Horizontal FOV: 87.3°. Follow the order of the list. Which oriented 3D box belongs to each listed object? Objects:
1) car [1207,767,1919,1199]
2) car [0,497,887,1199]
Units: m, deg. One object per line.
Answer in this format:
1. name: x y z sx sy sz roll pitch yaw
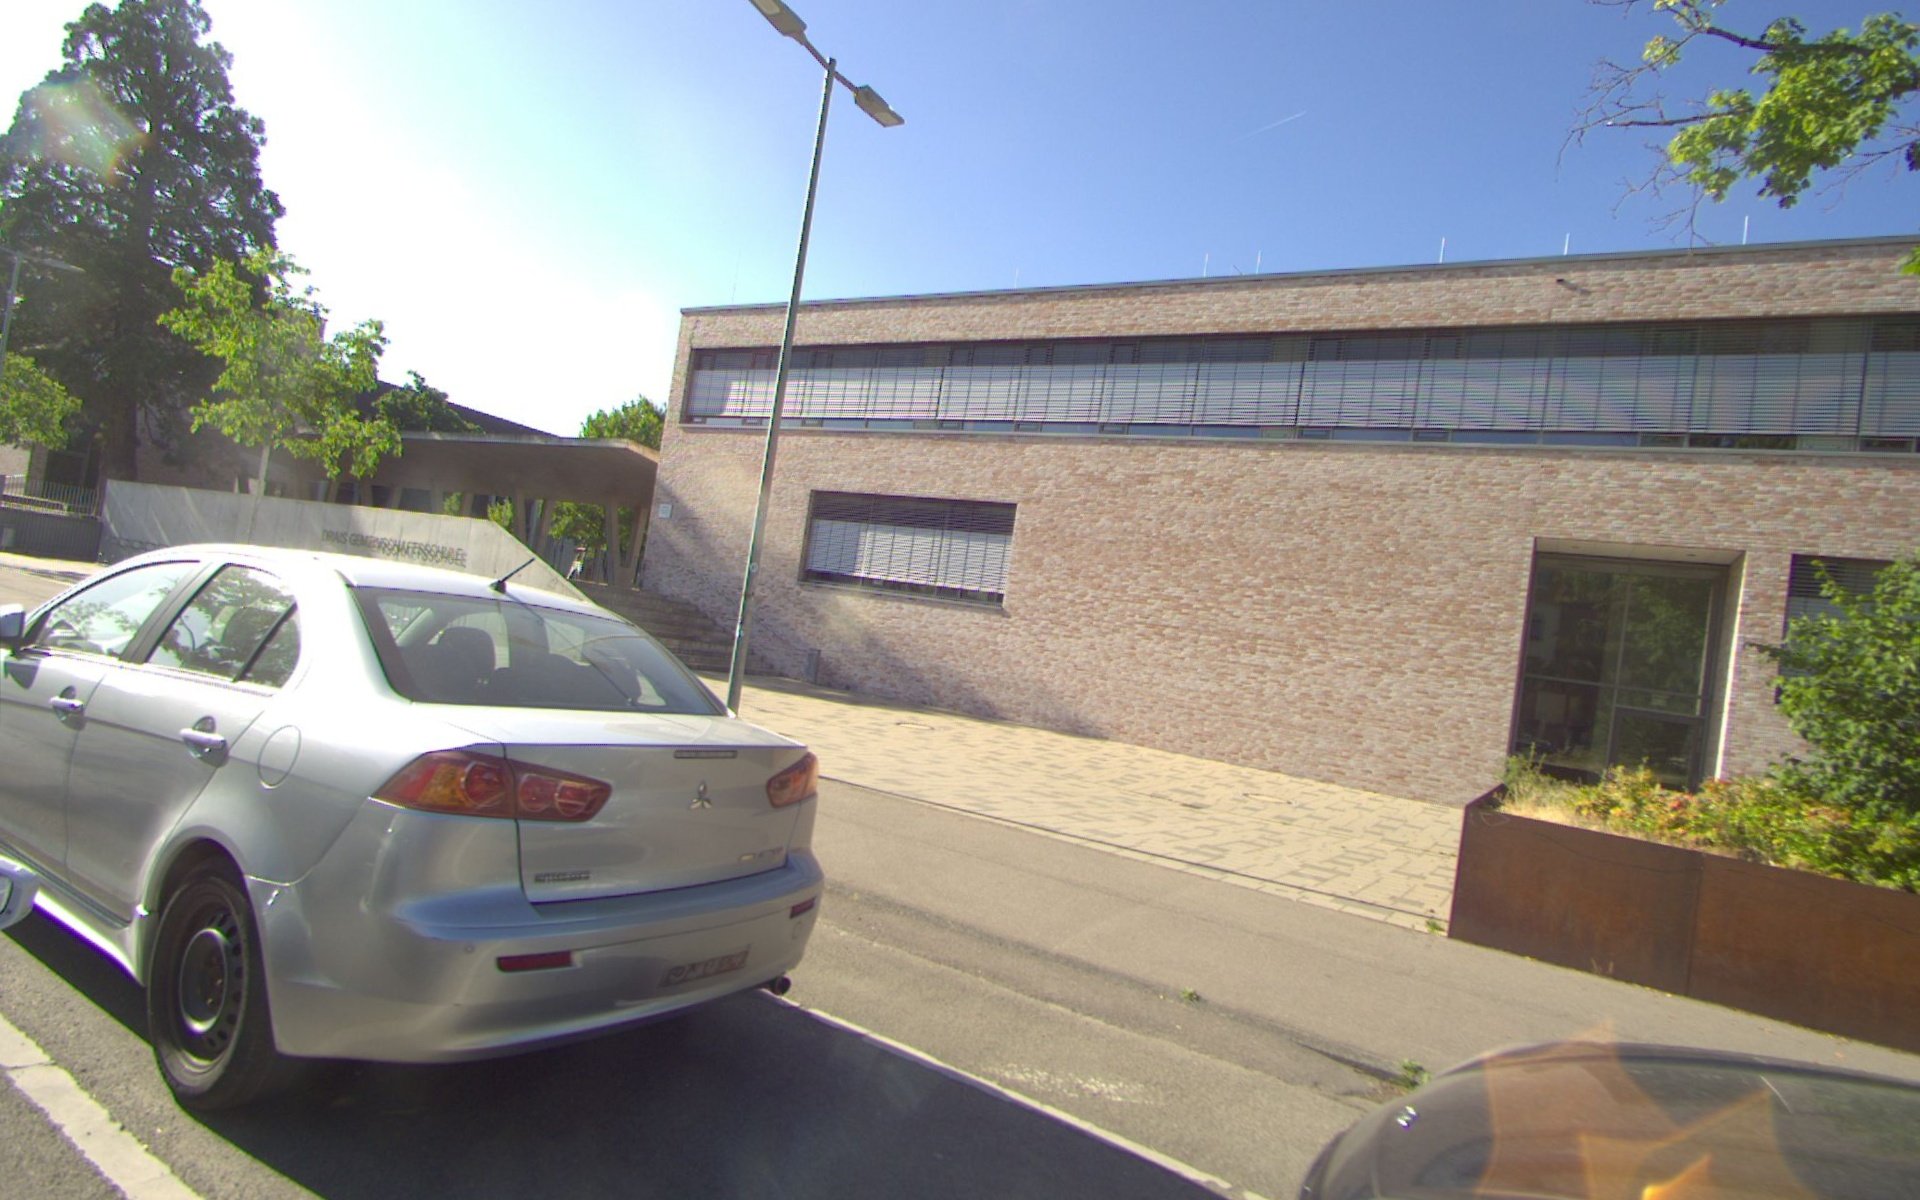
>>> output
1. car: 2.486 1.244 1.107 4.060 1.339 1.706 7 -3 31
2. car: -2.530 0.550 3.986 4.104 1.494 1.706 7 -3 32
